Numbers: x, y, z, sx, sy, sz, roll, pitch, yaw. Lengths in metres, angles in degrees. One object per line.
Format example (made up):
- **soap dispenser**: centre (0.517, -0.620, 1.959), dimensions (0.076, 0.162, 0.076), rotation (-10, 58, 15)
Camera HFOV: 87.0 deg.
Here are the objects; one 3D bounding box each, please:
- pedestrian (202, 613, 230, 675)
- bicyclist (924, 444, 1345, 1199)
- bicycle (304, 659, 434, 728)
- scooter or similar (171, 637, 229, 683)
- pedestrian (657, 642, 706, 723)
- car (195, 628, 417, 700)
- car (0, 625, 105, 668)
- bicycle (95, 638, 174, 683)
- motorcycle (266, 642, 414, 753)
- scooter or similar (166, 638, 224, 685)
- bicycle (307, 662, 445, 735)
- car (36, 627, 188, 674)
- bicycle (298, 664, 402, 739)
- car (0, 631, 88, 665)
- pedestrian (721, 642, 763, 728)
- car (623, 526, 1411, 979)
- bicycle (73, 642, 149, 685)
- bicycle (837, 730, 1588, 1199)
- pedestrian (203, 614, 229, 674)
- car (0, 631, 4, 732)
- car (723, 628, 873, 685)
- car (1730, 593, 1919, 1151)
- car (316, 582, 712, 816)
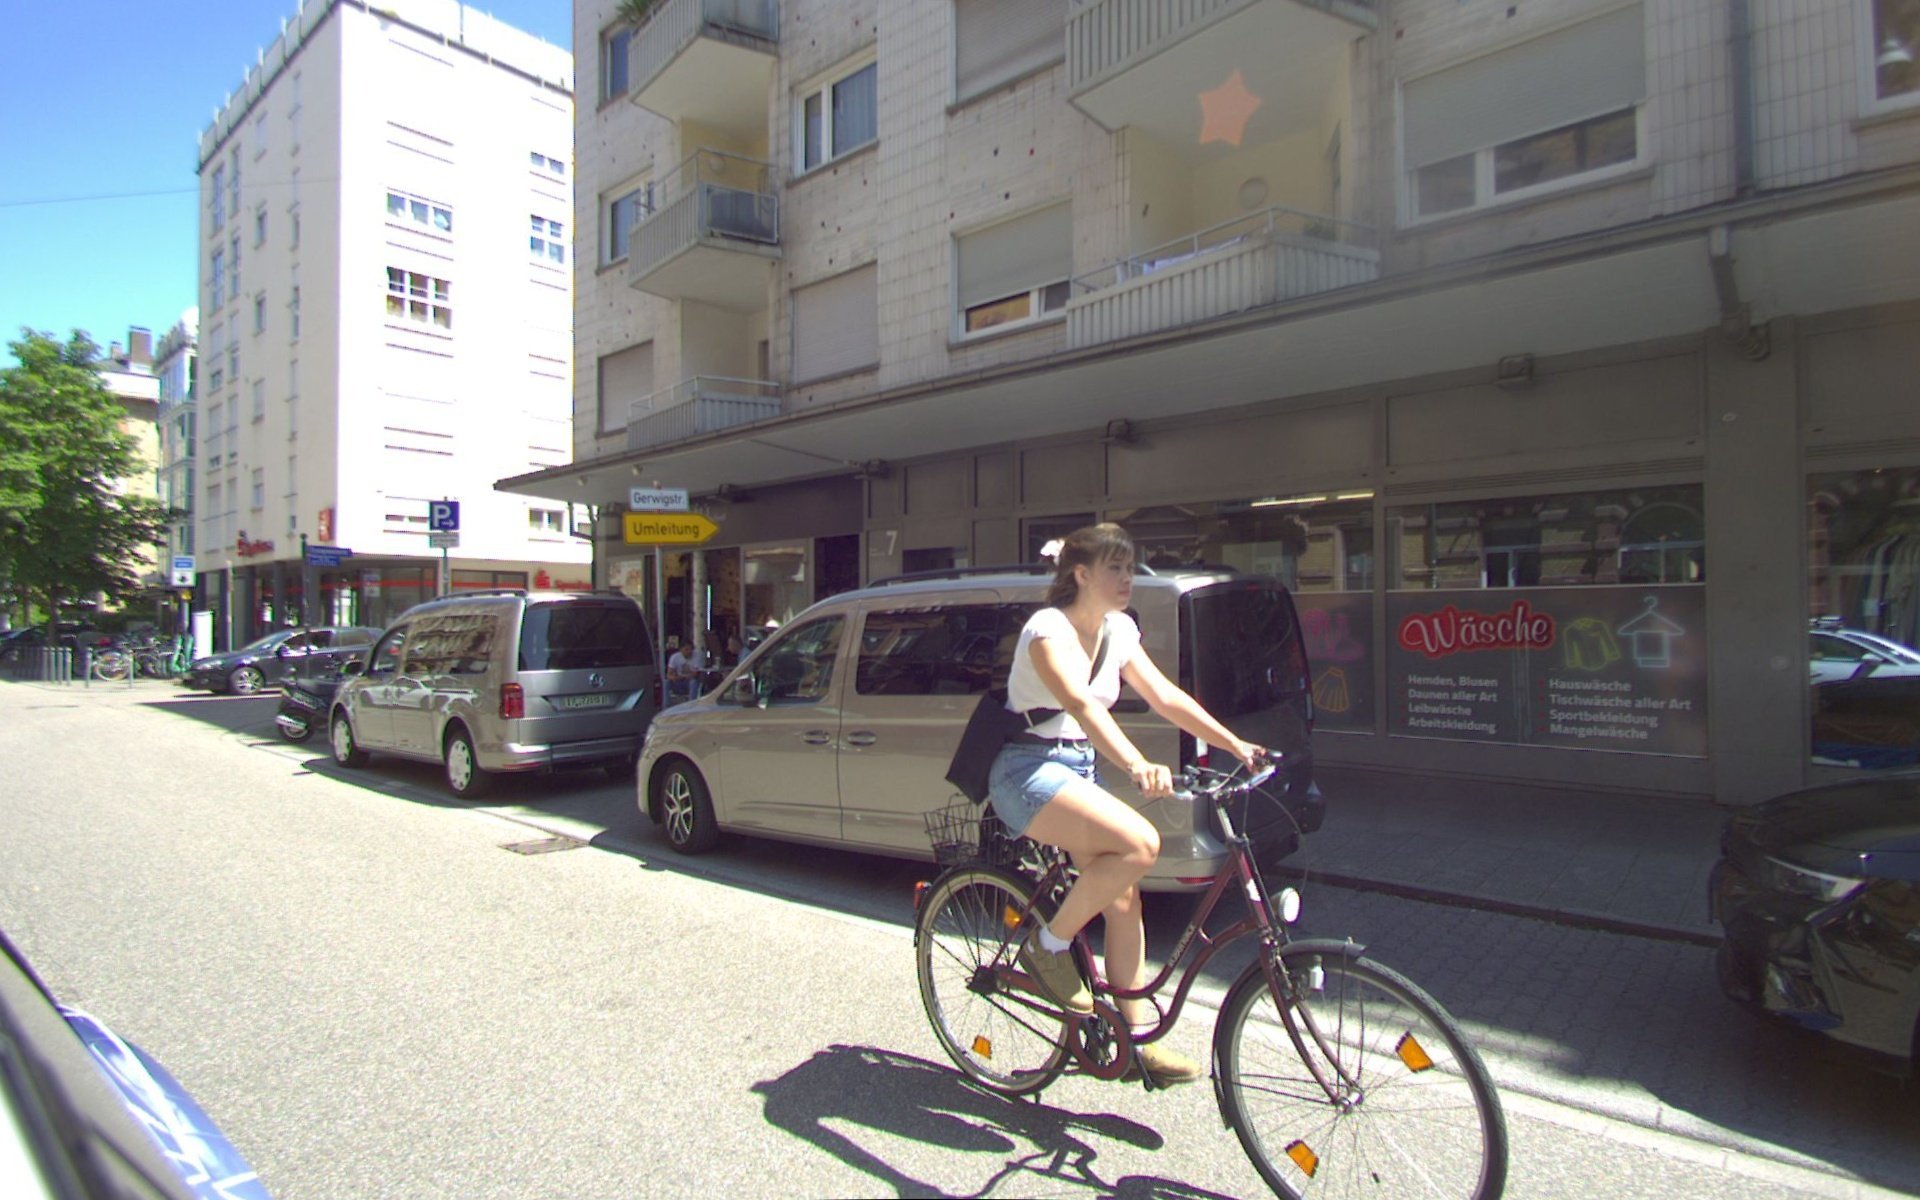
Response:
- **pedestrian**: centre (-26.252, 1.547, 35.714), dimensions (0.599, 2.141, 0.496), rotation (0, -2, -13)
- **bicyclist**: centre (0.470, 0.517, 2.857), dimensions (0.978, 1.719, 0.616), rotation (-2, -2, 41)
- **bicycle**: centre (-8.948, 1.407, 15.356), dimensions (1.684, 0.964, 0.411), rotation (-1, -1, -6)
- **scooter or similar**: centre (-19.786, 1.549, 26.360), dimensions (0.289, 1.176, 1.177), rotation (-2, -2, 39)
- **pedestrian**: centre (-4.045, 1.190, 14.716), dimensions (0.504, 1.135, 0.496), rotation (-1, -2, 21)
- **car**: centre (-14.539, 1.367, 22.638), dimensions (1.815, 1.436, 3.838), rotation (-2, -2, 41)
- **car**: centre (-39.287, 1.962, 43.343), dimensions (1.651, 1.760, 3.835), rotation (-2, -2, 40)
- **bicycle**: centre (-22.061, 1.613, 27.064), dimensions (1.586, 1.099, 0.371), rotation (-1, -1, -44)
- **motorcycle**: centre (-7.813, 1.214, 12.807), dimensions (1.530, 1.293, 0.394), rotation (-1, 0, -17)
- **scooter or similar**: centre (-20.216, 1.612, 26.744), dimensions (0.289, 1.176, 1.177), rotation (-2, -2, 39)
- **bicycle**: centre (-8.321, 1.394, 14.453), dimensions (1.684, 0.964, 0.411), rotation (-1, -1, -6)
- **car**: centre (-29.502, 1.709, 35.296), dimensions (1.651, 1.541, 3.835), rotation (-2, -2, 40)
- **bicycle**: centre (-8.383, 1.387, 13.924), dimensions (1.194, 0.964, 0.337), rotation (-1, -1, -6)
- **car**: centre (-43.295, 2.221, 47.130), dimensions (1.651, 1.507, 3.835), rotation (-2, -2, 40)
- **pedestrian**: centre (-2.998, 1.155, 13.882), dimensions (0.491, 1.135, 0.510), rotation (0, -2, -21)
- **car**: centre (0.048, 0.668, 6.251), dimensions (4.693, 1.825, 1.771), rotation (-2, -1, 39)
- **bicycle**: centre (-23.585, 1.755, 28.146), dimensions (1.586, 1.099, 0.371), rotation (-1, -1, -44)
- **bicycle**: centre (0.536, 0.993, 2.779), dimensions (1.939, 1.100, 0.596), rotation (-2, -2, 41)
- **pedestrian**: centre (-26.684, 1.568, 36.311), dimensions (0.605, 2.141, 0.492), rotation (-1, -2, 22)
- **car**: centre (-13.312, 1.093, 12.198), dimensions (1.784, 1.436, 4.253), rotation (1, -2, -32)
- **car**: centre (-4.207, 1.460, 26.309), dimensions (3.561, 1.380, 1.515), rotation (-1, -1, 19)
- **car**: centre (4.551, 0.701, 2.186), dimensions (4.462, 1.536, 1.652), rotation (-2, -1, 42)
- **car**: centre (-4.715, 0.838, 10.267), dimensions (4.898, 1.843, 1.770), rotation (-2, -1, 41)
